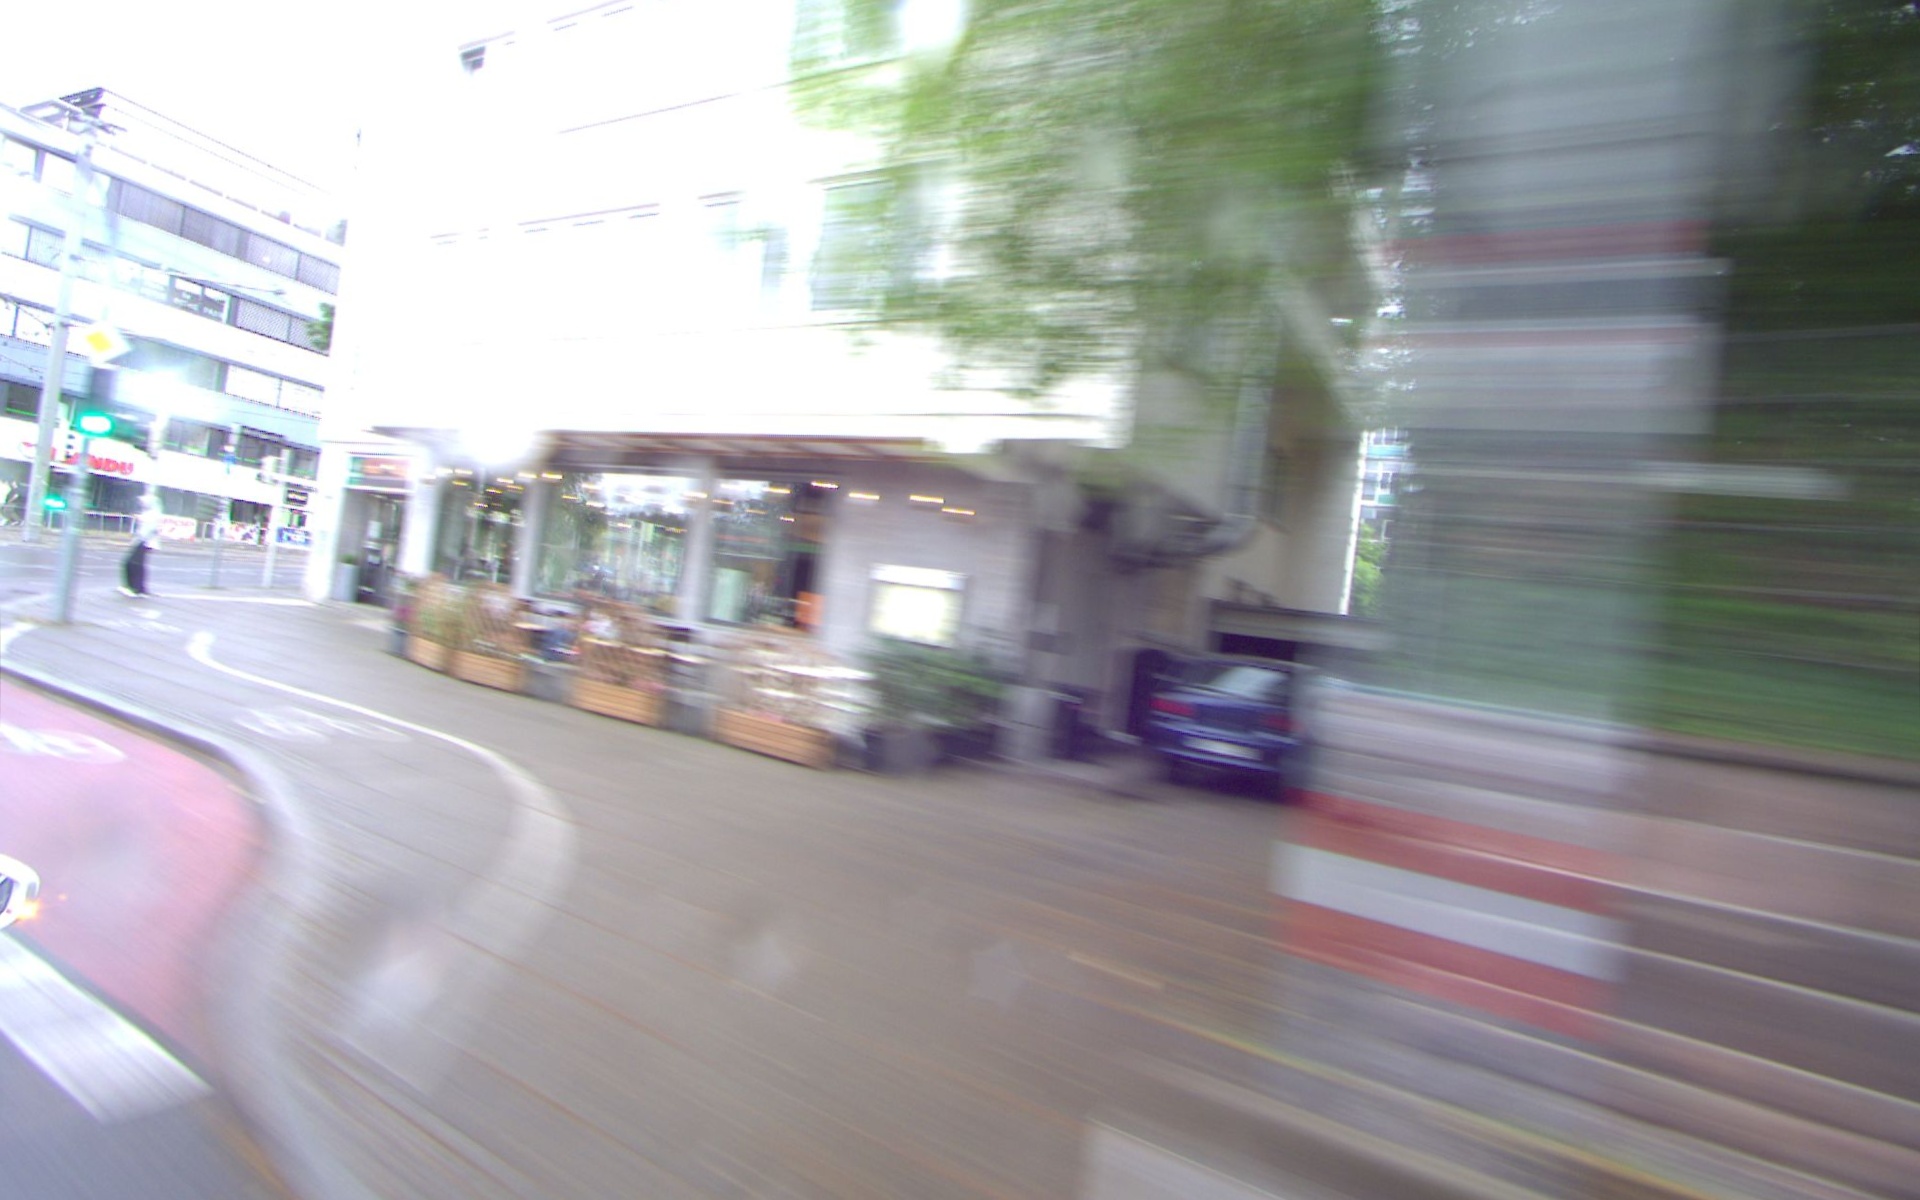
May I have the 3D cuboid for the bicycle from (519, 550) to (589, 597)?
[{"bbox_3d":[-12.616,-0.830,31.227,2.284,1.188,0.648,7,0,31],"label":"bicycle"}]

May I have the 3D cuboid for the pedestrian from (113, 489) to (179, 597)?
[{"bbox_3d":[-13.748,-0.956,17.014,0.521,1.733,0.702,7,0,-21],"label":"pedestrian"}]

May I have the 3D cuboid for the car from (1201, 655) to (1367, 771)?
[{"bbox_3d":[5.107,1.705,15.617,1.654,1.379,3.216,7,-1,31],"label":"car"}]

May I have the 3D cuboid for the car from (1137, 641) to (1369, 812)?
[{"bbox_3d":[3.593,1.424,11.969,1.771,1.525,3.190,7,-1,31],"label":"car"}]

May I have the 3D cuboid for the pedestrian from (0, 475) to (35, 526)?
[{"bbox_3d":[-37.933,-3.990,40.447,0.709,1.937,0.694,7,0,-21],"label":"pedestrian"}]

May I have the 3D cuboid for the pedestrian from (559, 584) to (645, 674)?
[{"bbox_3d":[-5.130,0.429,14.456,0.559,1.206,0.916,7,1,31],"label":"pedestrian"}]

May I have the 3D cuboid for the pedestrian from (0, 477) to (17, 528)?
[{"bbox_3d":[-37.848,-3.879,39.573,0.709,1.937,0.694,7,0,-21],"label":"pedestrian"}]

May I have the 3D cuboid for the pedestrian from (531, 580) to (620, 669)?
[{"bbox_3d":[-5.644,0.367,14.805,0.625,1.206,0.930,7,1,31],"label":"pedestrian"}]
